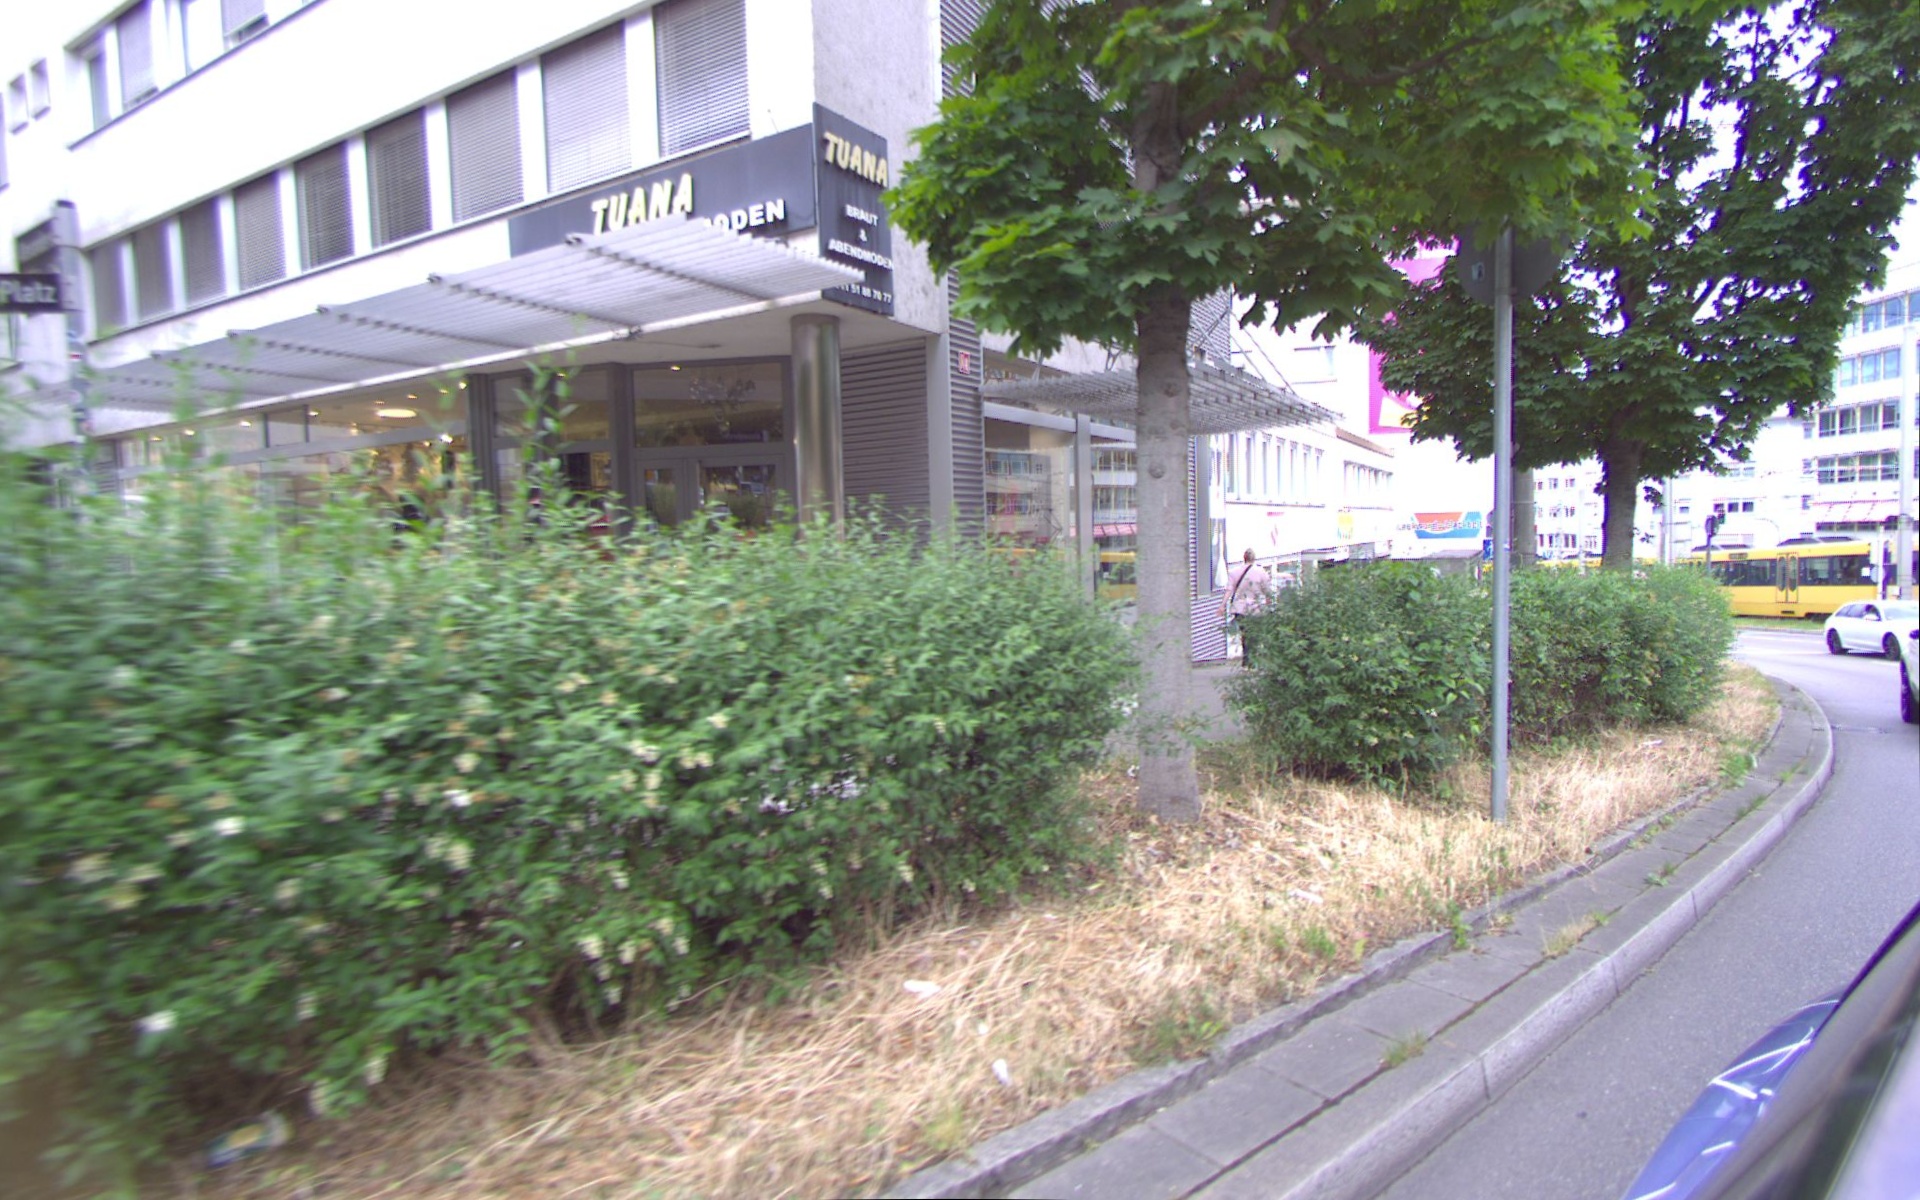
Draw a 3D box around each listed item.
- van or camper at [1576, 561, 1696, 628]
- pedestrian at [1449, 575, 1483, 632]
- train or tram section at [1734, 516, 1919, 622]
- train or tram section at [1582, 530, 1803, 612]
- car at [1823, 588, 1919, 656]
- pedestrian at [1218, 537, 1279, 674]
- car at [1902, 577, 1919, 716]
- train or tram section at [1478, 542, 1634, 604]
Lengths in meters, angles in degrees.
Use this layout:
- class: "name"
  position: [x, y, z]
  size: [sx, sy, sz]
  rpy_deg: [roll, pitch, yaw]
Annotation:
- class: "van or camper"
  position: [28.631, -0.291, 43.150]
  size: [2.178, 2.590, 6.346]
  rpy_deg: [-3, 1, 15]
- class: "pedestrian"
  position: [16.814, 0.102, 33.616]
  size: [0.831, 1.833, 1.136]
  rpy_deg: [-1, 0, 36]
- class: "train or tram section"
  position: [36.260, -1.220, 40.408]
  size: [2.847, 3.709, 14.175]
  rpy_deg: [-1, 1, 13]
- class: "train or tram section"
  position: [38.635, -1.489, 54.467]
  size: [2.841, 3.709, 14.207]
  rpy_deg: [-2, 1, 6]
- class: "car"
  position: [24.178, 0.511, 25.623]
  size: [1.872, 1.493, 4.507]
  rpy_deg: [-2, 1, 17]
- class: "pedestrian"
  position: [3.964, 0.074, 13.902]
  size: [0.669, 1.817, 0.602]
  rpy_deg: [-1, 0, 30]
- class: "car"
  position: [11.828, 0.590, 11.001]
  size: [1.926, 1.652, 4.707]
  rpy_deg: [-2, 1, 39]
- class: "train or tram section"
  position: [39.871, -1.863, 68.594]
  size: [2.879, 3.602, 14.219]
  rpy_deg: [-3, 1, 4]
